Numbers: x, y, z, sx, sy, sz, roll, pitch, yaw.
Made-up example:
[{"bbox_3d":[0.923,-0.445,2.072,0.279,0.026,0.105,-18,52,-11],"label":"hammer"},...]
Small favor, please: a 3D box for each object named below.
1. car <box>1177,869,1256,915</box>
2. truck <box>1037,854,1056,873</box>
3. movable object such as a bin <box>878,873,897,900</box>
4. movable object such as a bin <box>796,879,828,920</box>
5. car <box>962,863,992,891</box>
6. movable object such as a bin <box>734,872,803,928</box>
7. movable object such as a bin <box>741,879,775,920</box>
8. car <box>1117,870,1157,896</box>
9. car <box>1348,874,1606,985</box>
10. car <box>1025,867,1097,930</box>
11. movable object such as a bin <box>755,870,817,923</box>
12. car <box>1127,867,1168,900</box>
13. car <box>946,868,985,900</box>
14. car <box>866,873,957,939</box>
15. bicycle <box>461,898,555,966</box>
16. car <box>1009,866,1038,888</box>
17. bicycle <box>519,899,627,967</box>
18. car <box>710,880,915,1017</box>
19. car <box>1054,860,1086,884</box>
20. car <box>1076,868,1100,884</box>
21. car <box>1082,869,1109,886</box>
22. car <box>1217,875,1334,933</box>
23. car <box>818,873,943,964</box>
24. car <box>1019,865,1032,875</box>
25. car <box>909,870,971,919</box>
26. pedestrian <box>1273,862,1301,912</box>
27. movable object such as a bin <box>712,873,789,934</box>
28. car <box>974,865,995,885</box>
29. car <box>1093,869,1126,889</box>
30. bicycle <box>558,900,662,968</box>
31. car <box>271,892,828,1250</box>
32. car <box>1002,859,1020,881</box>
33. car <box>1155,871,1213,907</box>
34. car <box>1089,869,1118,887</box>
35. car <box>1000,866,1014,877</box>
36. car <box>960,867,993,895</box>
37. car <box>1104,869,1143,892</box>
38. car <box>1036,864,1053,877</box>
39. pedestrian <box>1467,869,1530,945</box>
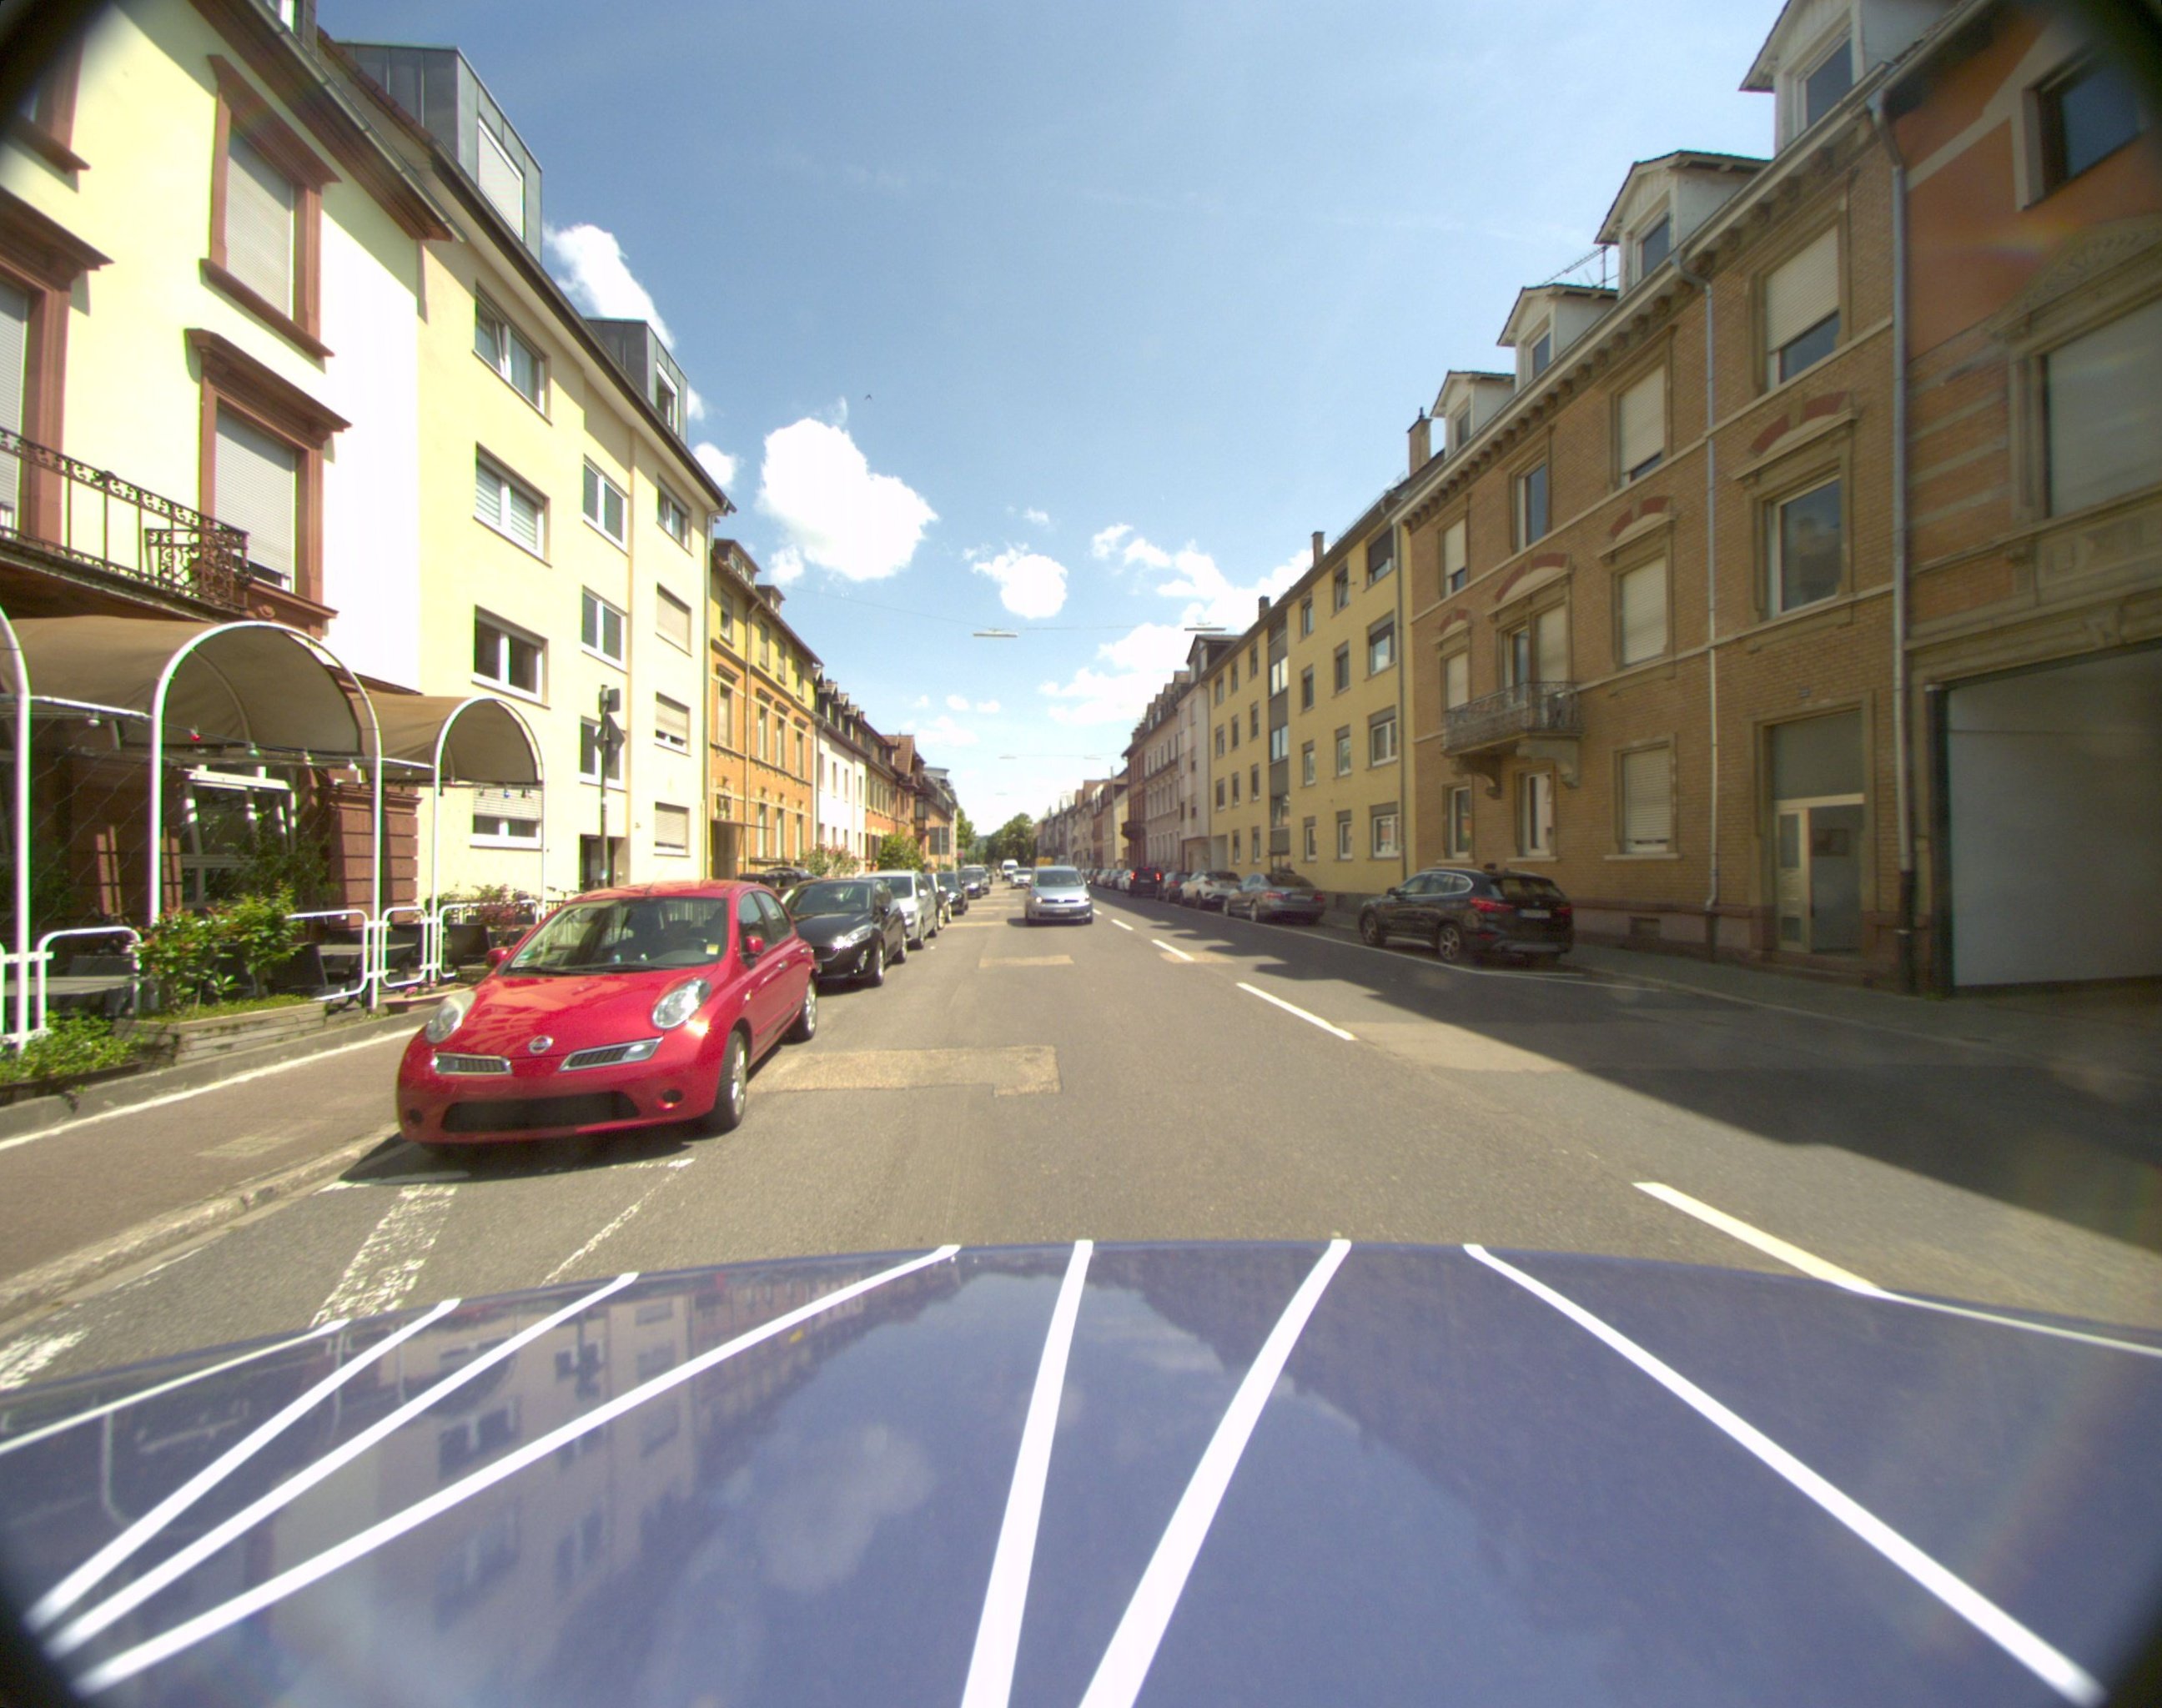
[{"bbox_3d":[5.136,1.418,29.389,1.870,1.542,4.312,3,-1,-6],"label":"car"},{"bbox_3d":[-5.261,1.450,114.133,2.324,2.724,8.065,0,-1,-6],"label":"truck"},{"bbox_3d":[-9.021,1.524,35.410,0.753,1.234,0.877,0,-1,-6],"label":"movable object such as a bin"},{"bbox_3d":[-7.917,1.329,22.370,0.723,1.181,0.747,0,0,-6],"label":"movable object such as a bin"},{"bbox_3d":[-6.871,1.497,50.475,1.709,1.699,3.929,-3,-1,-6],"label":"car"},{"bbox_3d":[-8.017,1.153,19.598,1.286,1.387,1.364,0,-1,-4],"label":"movable object such as a bin"},{"bbox_3d":[-9.412,1.308,22.171,0.723,1.161,0.747,0,0,-6],"label":"movable object such as a bin"},{"bbox_3d":[3.432,1.759,47.140,1.750,1.402,4.283,3,-1,-4],"label":"car"},{"bbox_3d":[6.793,1.207,13.720,1.871,1.542,4.498,3,-1,-7],"label":"car"},{"bbox_3d":[-0.665,1.169,21.421,1.759,1.559,3.999,-1,-1,-5],"label":"car"},{"bbox_3d":[-8.108,1.149,20.965,1.286,1.402,1.304,0,-1,-4],"label":"movable object such as a bin"},{"bbox_3d":[3.620,1.568,40.826,1.747,1.578,3.957,3,-1,10],"label":"car"},{"bbox_3d":[-5.879,1.500,38.880,1.709,1.470,3.929,-3,-1,-6],"label":"car"},{"bbox_3d":[-4.441,1.311,20.404,1.762,1.470,3.930,-3,-1,-4],"label":"car"},{"bbox_3d":[-9.384,1.245,12.516,0.553,0.977,1.628,0,-1,-10],"label":"bicycle"},{"bbox_3d":[-4.080,1.625,54.075,1.905,1.488,4.486,-1,-1,-4],"label":"car"},{"bbox_3d":[-8.295,1.268,12.495,0.552,0.977,1.631,-1,-1,6],"label":"bicycle"},{"bbox_3d":[-3.635,1.194,11.056,1.762,1.470,3.930,-3,-1,-4],"label":"car"},{"bbox_3d":[-0.858,1.301,55.208,1.913,1.601,4.445,1,-1,-6],"label":"car"},{"bbox_3d":[0.659,2.143,75.592,1.750,1.402,4.101,3,-1,-8],"label":"car"},{"bbox_3d":[1.330,2.106,69.919,1.750,1.402,4.101,3,-1,-8],"label":"car"},{"bbox_3d":[5.710,1.415,22.949,1.910,1.443,4.684,3,-1,-5],"label":"car"},{"bbox_3d":[-4.067,1.238,16.077,1.762,1.542,4.065,-3,-1,-4],"label":"car"},{"bbox_3d":[-8.409,2.441,115.387,1.811,1.522,3.999,1,-1,-5],"label":"car"},{"bbox_3d":[-4.876,1.349,26.753,1.763,1.470,4.417,-3,-1,-7],"label":"car"},{"bbox_3d":[7.294,1.144,26.951,0.804,1.745,0.876,0,0,3],"label":"pedestrian"},{"bbox_3d":[-7.875,1.155,18.189,1.286,1.387,1.412,0,-1,-4],"label":"movable object such as a bin"},{"bbox_3d":[-8.501,1.852,67.315,1.709,1.618,3.929,-3,-1,-6],"label":"car"},{"bbox_3d":[2.166,1.881,58.769,1.750,1.402,4.101,3,-1,-8],"label":"car"},{"bbox_3d":[-7.681,1.273,12.470,0.552,0.977,1.631,-1,-1,6],"label":"bicycle"},{"bbox_3d":[-3.154,1.114,5.554,1.763,1.470,3.781,-3,-1,-8],"label":"car"},{"bbox_3d":[-7.729,1.728,83.308,1.906,2.260,5.669,-1,-1,-6],"label":"car"},{"bbox_3d":[4.605,1.531,34.368,1.750,1.402,3.914,3,-1,-4],"label":"car"},{"bbox_3d":[1.868,1.996,64.446,1.750,1.402,4.101,3,-1,-8],"label":"car"},{"bbox_3d":[-10.709,2.548,110.047,1.906,1.488,4.486,-1,-1,-5],"label":"car"},{"bbox_3d":[-6.137,1.565,44.920,1.709,1.470,3.929,-3,-1,-6],"label":"car"},{"bbox_3d":[2.890,1.815,52.525,1.750,1.402,4.510,3,-1,-8],"label":"car"},{"bbox_3d":[-4.455,1.981,91.764,1.811,1.425,3.999,1,-1,-5],"label":"car"},{"bbox_3d":[8.631,1.075,15.733,0.805,1.525,0.876,0,0,-1],"label":"pedestrian"}]
